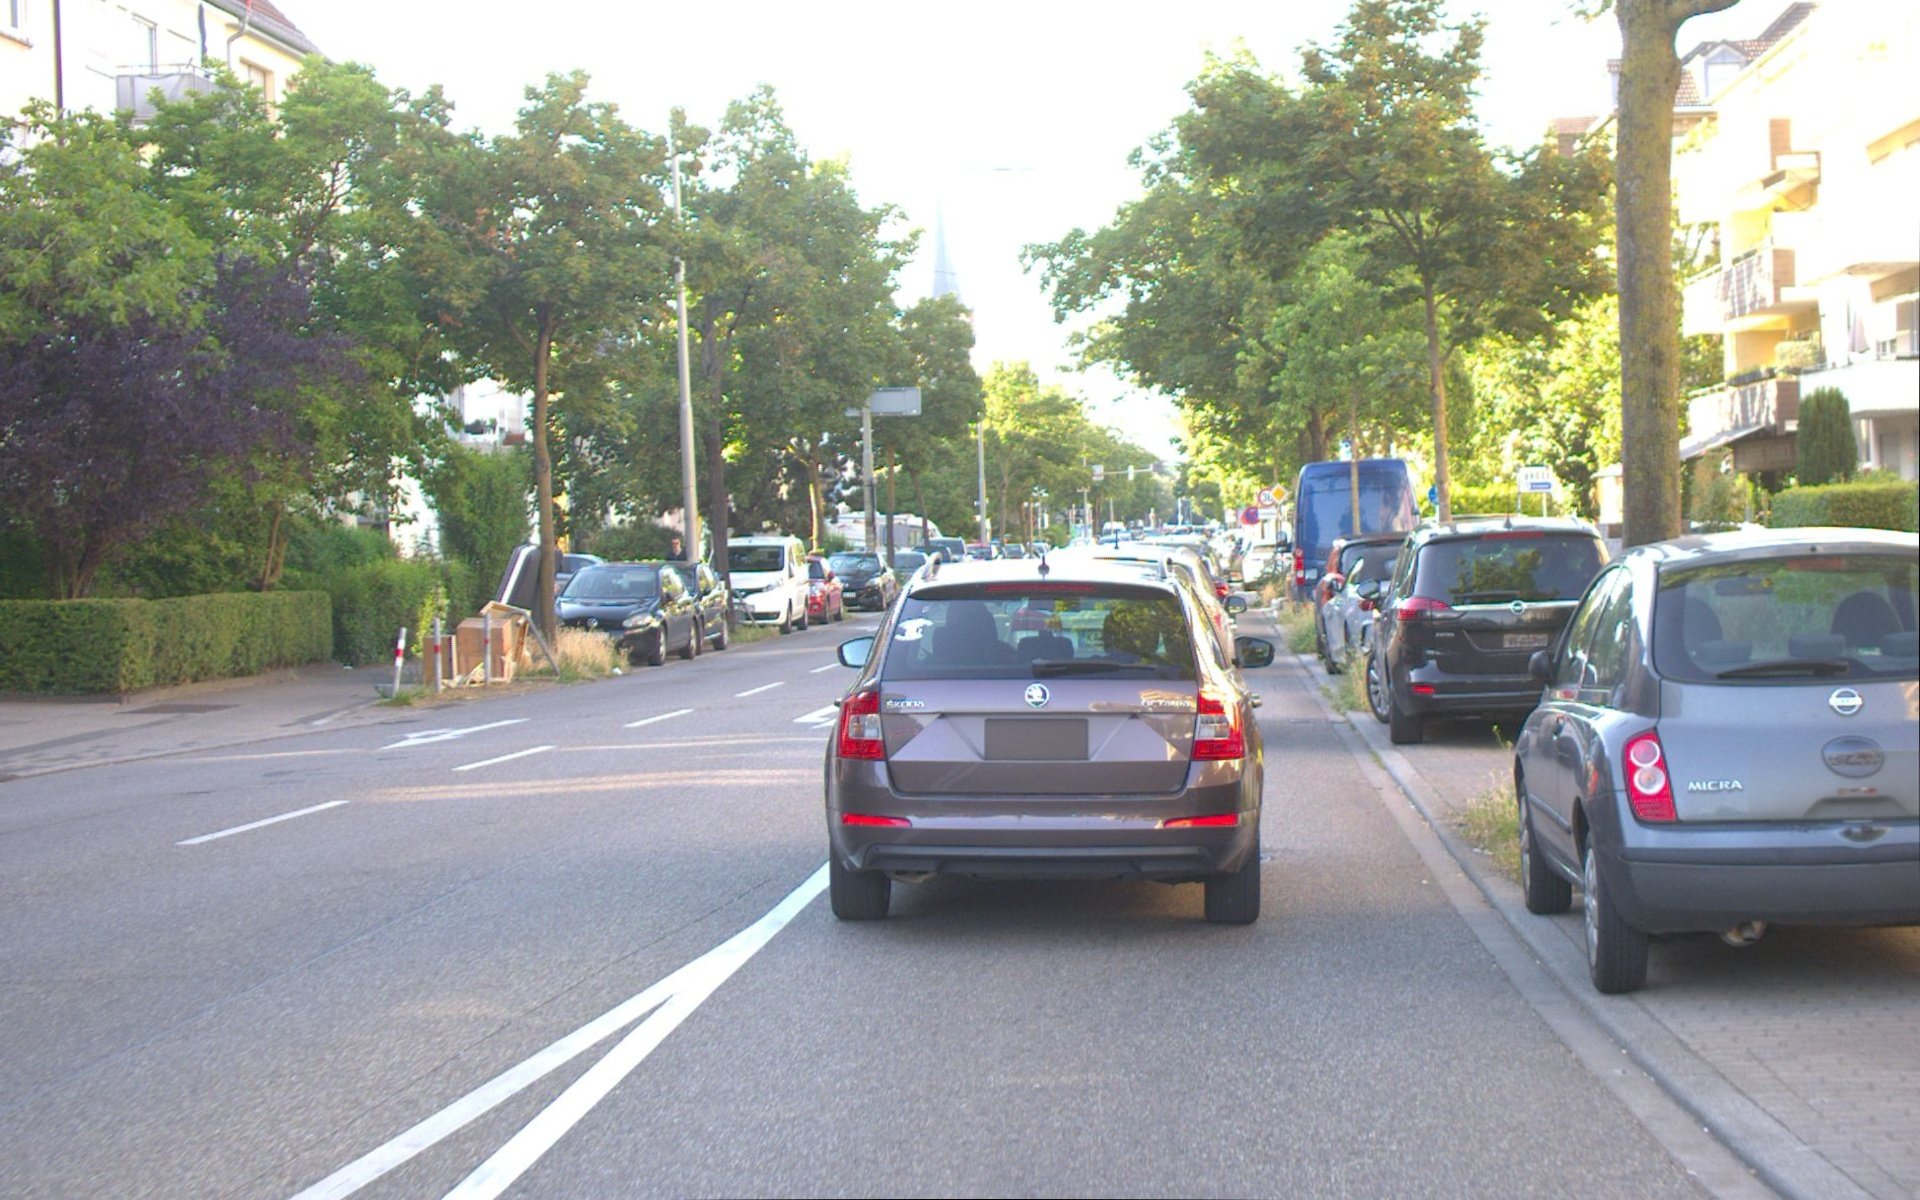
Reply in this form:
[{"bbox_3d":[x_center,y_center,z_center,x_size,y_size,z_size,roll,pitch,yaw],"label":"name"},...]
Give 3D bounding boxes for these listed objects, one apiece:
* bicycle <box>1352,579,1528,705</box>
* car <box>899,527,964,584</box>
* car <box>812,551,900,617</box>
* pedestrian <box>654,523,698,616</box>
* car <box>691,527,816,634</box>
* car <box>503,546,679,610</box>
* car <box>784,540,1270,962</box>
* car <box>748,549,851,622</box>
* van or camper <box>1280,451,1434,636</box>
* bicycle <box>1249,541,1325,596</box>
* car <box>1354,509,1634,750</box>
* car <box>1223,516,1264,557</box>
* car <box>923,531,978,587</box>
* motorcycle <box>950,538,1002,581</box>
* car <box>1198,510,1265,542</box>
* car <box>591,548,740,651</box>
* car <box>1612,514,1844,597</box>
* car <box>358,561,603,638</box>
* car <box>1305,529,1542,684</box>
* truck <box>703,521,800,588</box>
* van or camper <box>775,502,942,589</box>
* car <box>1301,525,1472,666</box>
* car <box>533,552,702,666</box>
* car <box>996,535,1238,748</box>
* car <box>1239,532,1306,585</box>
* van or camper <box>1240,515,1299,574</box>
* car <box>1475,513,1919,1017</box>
[{"bbox_3d":[4.264,0.368,30.573,1.476,1.055,0.412,-2,1,-8],"label":"bicycle"},{"bbox_3d":[-0.903,-1.437,109.593,1.750,1.734,3.590,-1,2,4],"label":"car"},{"bbox_3d":[-2.543,-0.424,85.106,1.717,1.492,4.247,-1,2,4],"label":"car"},{"bbox_3d":[-6.213,-0.671,75.224,0.767,2.007,0.976,-1,1,4],"label":"pedestrian"},{"bbox_3d":[-3.921,-0.407,65.998,1.770,1.912,4.459,-1,2,4],"label":"car"},{"bbox_3d":[-8.835,-0.537,82.514,3.987,1.474,2.000,0,1,1],"label":"car"},{"bbox_3d":[0.419,0.532,14.689,1.730,1.488,3.950,-1,2,6],"label":"car"},{"bbox_3d":[-3.388,-0.330,73.131,1.717,1.416,3.786,-1,2,4],"label":"car"},{"bbox_3d":[6.084,-0.859,53.295,2.068,2.666,5.989,-1,1,4],"label":"van or camper"},{"bbox_3d":[7.902,-0.760,83.144,1.672,1.222,0.635,-3,1,17],"label":"bicycle"},{"bbox_3d":[3.999,0.153,26.314,1.732,1.645,4.291,-1,2,4],"label":"car"},{"bbox_3d":[13.042,-2.952,158.387,1.729,1.809,3.951,-1,2,3],"label":"car"},{"bbox_3d":[-0.298,-1.382,114.228,1.507,1.751,3.693,-1,2,4],"label":"car"},{"bbox_3d":[0.577,-1.461,124.508,0.764,1.506,2.030,-2,2,-38],"label":"motorcycle"},{"bbox_3d":[15.984,-4.367,202.298,1.881,1.751,4.169,0,2,39],"label":"car"},{"bbox_3d":[-4.707,-0.039,55.377,1.750,1.497,3.978,-1,2,4],"label":"car"},{"bbox_3d":[14.608,-0.858,65.527,3.987,1.457,1.825,-1,1,1],"label":"car"},{"bbox_3d":[-9.538,-0.025,68.389,4.709,1.358,2.001,-2,1,-8],"label":"car"},{"bbox_3d":[4.887,0.016,36.877,1.920,1.481,4.746,-1,2,1],"label":"car"},{"bbox_3d":[-6.763,-1.485,111.508,2.914,2.086,1.546,-1,1,4],"label":"truck"},{"bbox_3d":[-4.744,-2.572,161.234,7.641,3.861,2.000,-1,1,3],"label":"van or camper"},{"bbox_3d":[5.243,-0.076,42.627,1.773,1.636,3.757,-1,1,2],"label":"car"},{"bbox_3d":[-4.975,0.101,50.440,1.750,1.497,4.196,-1,2,4],"label":"car"},{"bbox_3d":[1.171,0.268,27.203,1.729,1.488,3.951,-1,2,0],"label":"car"},{"bbox_3d":[8.967,-1.213,98.569,1.821,1.408,4.110,-1,2,6],"label":"car"},{"bbox_3d":[11.018,-1.987,122.660,1.994,2.006,4.000,-1,2,4],"label":"van or camper"},{"bbox_3d":[2.928,0.479,12.650,1.732,1.545,3.646,-1,2,4],"label":"car"}]
